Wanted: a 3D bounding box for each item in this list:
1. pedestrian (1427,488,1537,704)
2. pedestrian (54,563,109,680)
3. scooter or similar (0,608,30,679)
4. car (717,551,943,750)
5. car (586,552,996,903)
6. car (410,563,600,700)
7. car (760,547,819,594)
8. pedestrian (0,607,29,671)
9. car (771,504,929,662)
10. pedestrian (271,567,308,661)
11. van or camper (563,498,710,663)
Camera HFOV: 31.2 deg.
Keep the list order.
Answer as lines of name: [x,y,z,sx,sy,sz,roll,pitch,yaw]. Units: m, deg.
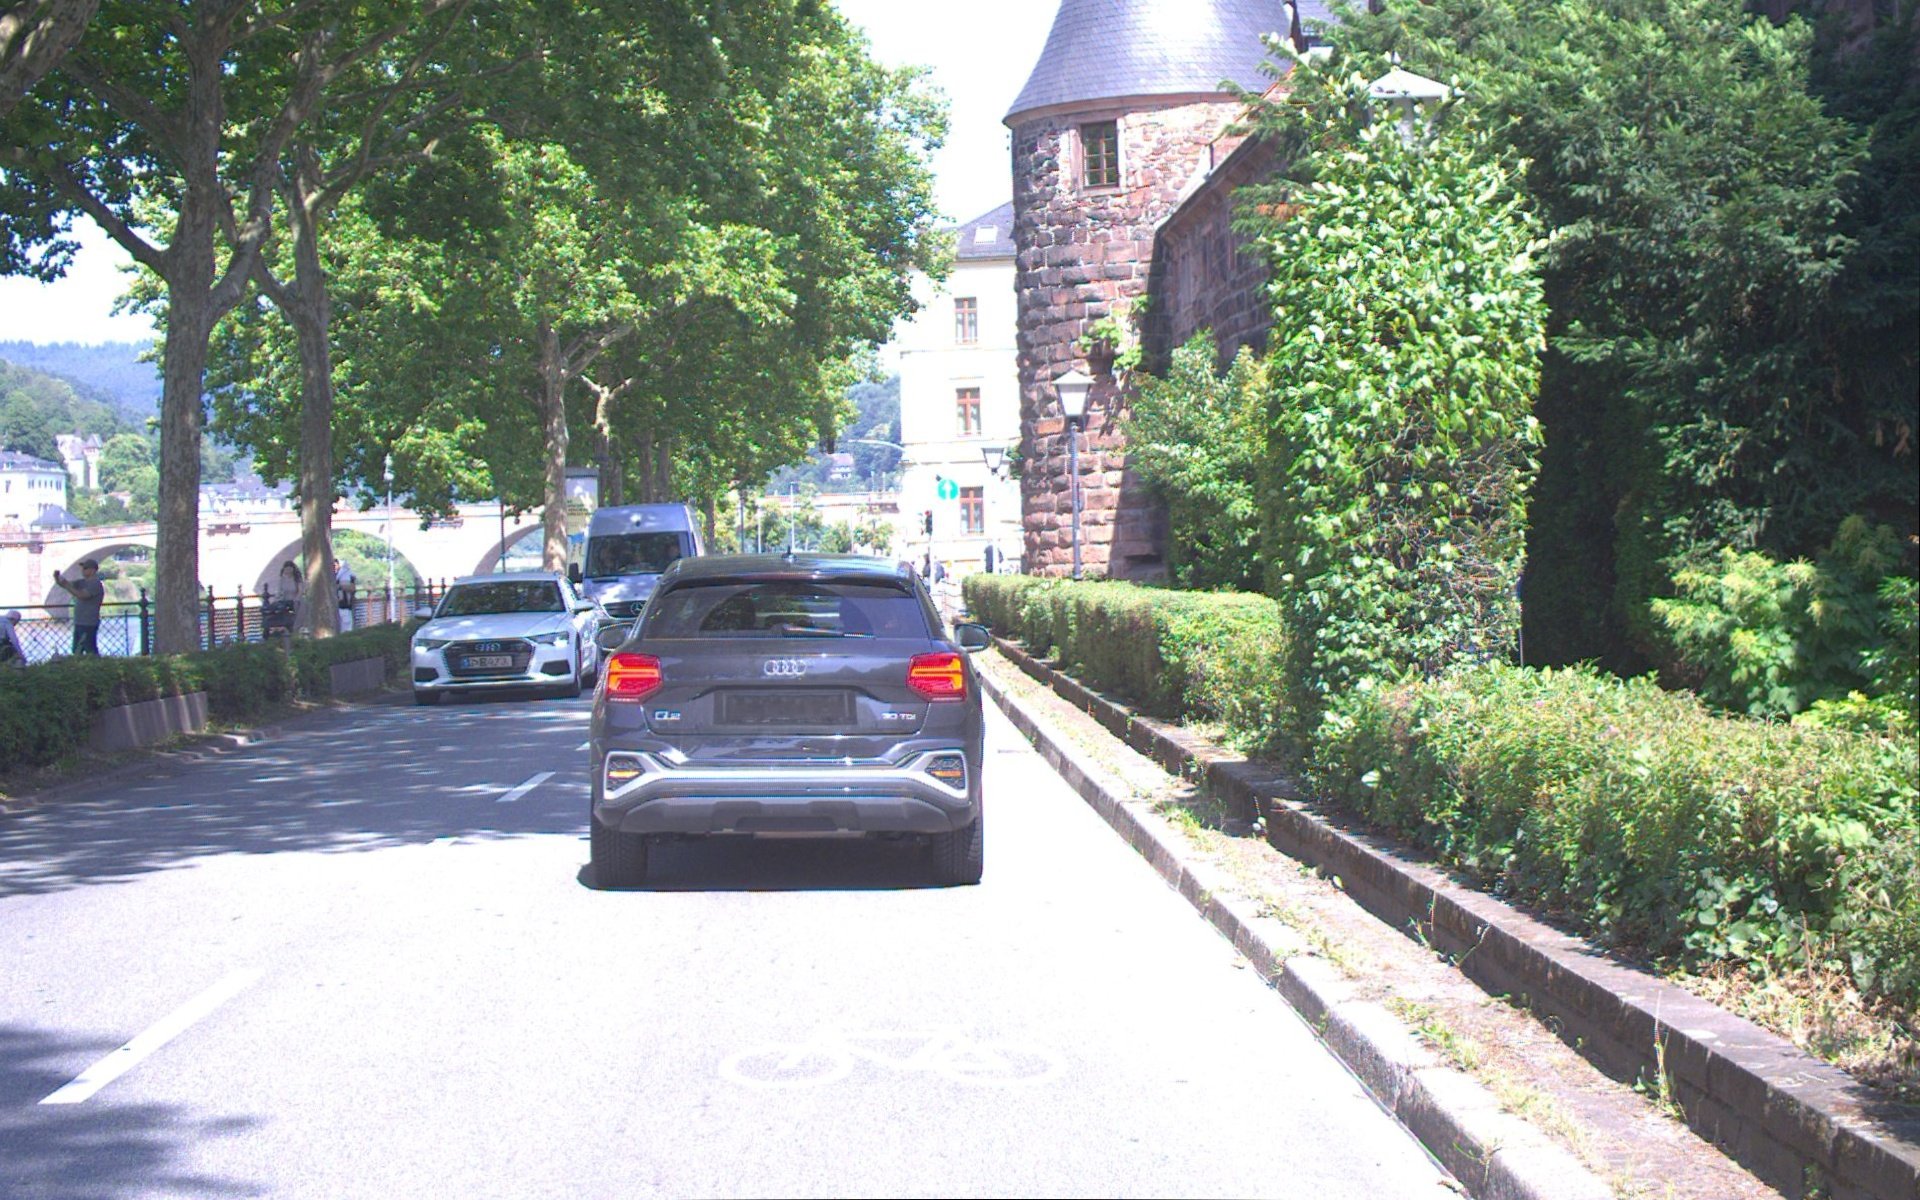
pedestrian: [4.092,-0.039,27.005,0.698,1.647,0.705,-2,1,1]
pedestrian: [-12.159,0.293,47.584,0.644,1.613,0.459,1,0,-3]
scooter or similar: [-13.449,0.604,48.090,0.631,0.965,1.012,0,0,-2]
car: [-1.083,0.390,30.246,1.801,1.557,3.716,-3,1,0]
car: [-0.808,0.524,16.600,1.748,1.489,3.629,0,1,-3]
car: [-5.289,0.332,40.433,1.769,1.452,4.535,-2,1,-3]
car: [-6.331,-1.131,128.224,1.763,1.642,4.089,-2,1,3]
pedestrian: [-13.459,0.546,48.231,0.607,0.881,0.705,-1,1,-2]
car: [-1.503,-0.254,47.198,1.993,2.007,4.000,-2,1,-2]
pedestrian: [-11.209,0.234,57.472,0.457,1.549,0.586,-3,1,-2]
van or camper: [-5.436,-0.341,58.475,1.960,2.558,5.841,-3,0,-1]
